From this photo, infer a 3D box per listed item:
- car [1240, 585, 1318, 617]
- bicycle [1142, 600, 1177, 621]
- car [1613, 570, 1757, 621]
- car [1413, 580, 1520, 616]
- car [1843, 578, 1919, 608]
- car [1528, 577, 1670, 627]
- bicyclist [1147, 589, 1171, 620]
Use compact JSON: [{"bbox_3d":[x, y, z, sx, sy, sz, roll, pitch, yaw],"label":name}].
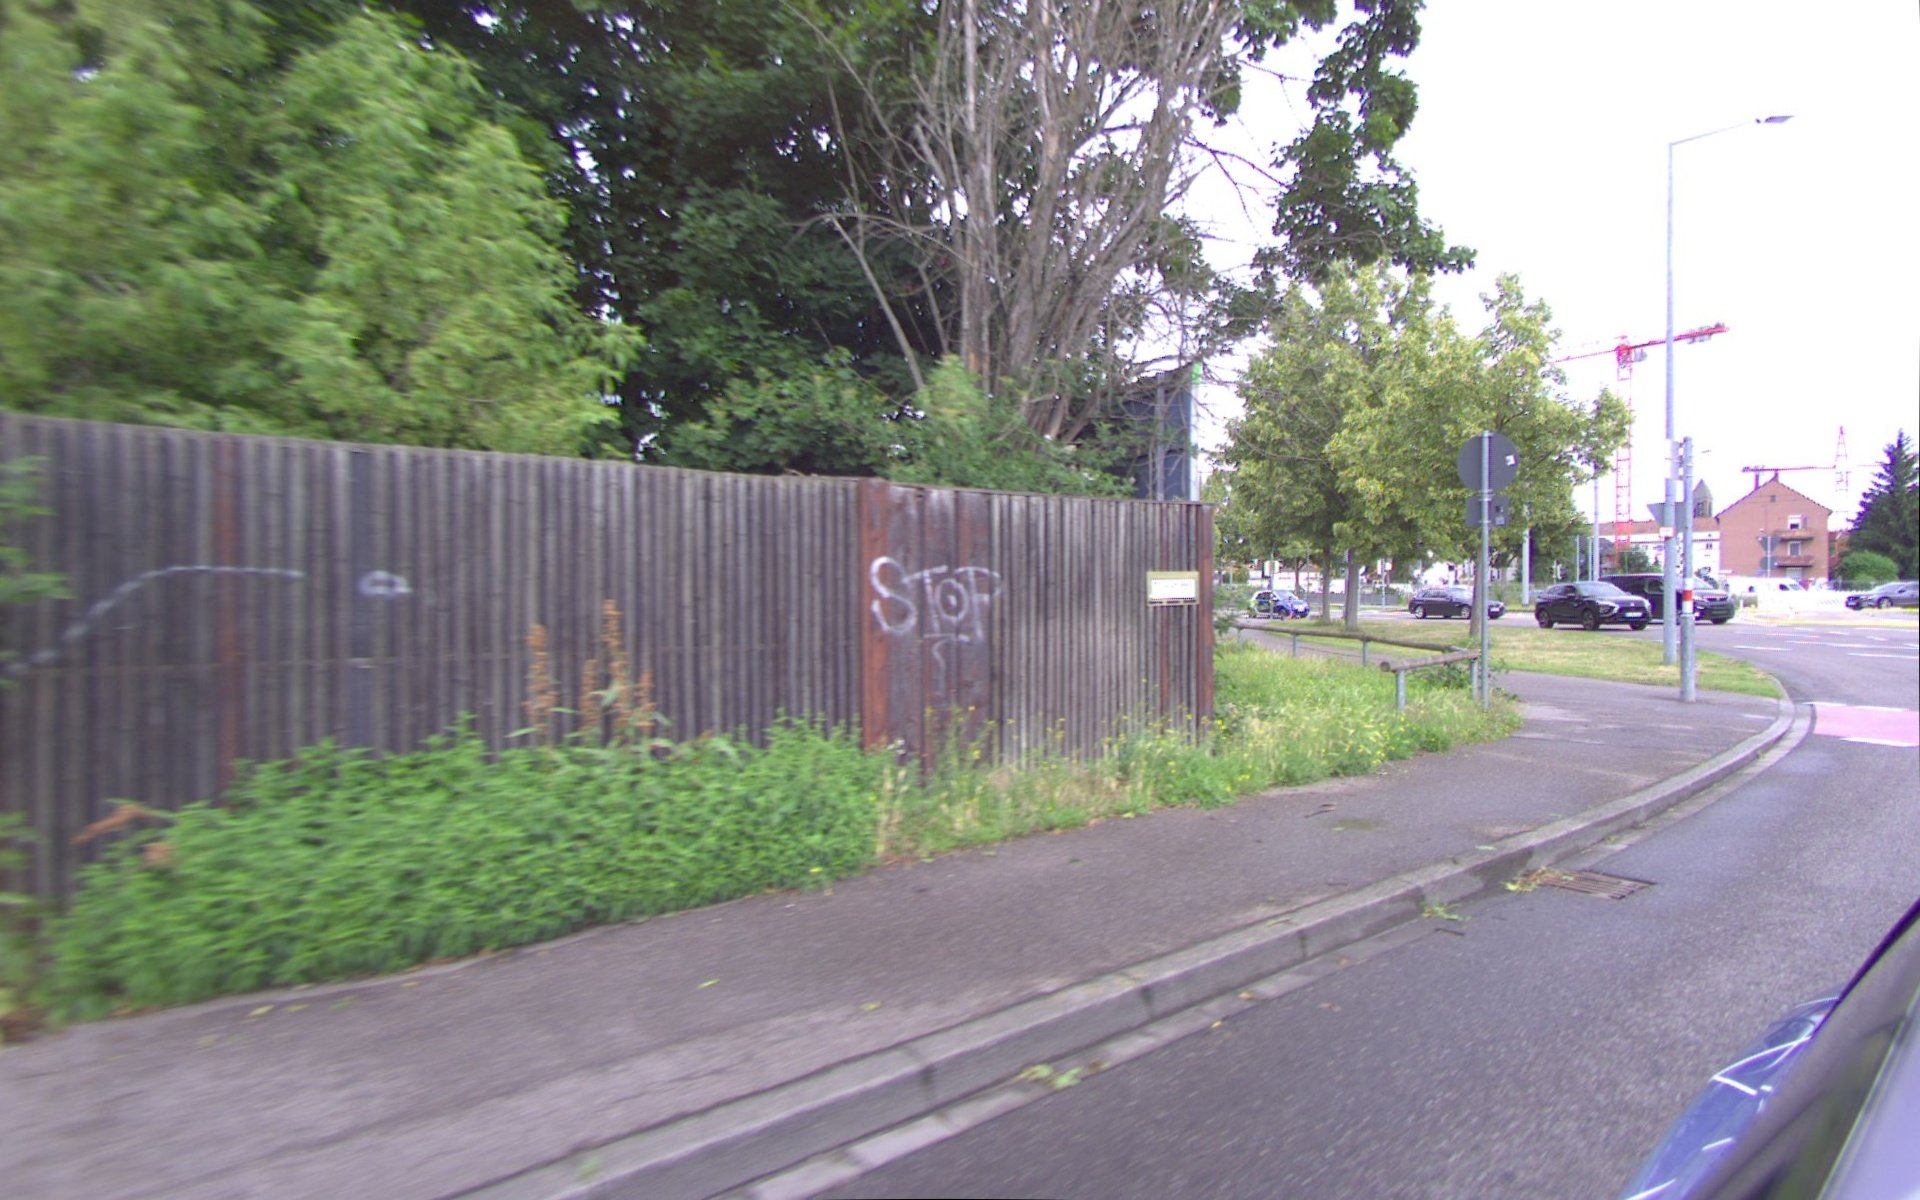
[{"bbox_3d":[17.769,0.042,56.521,1.823,1.749,4.005,0,0,-28],"label":"car"},{"bbox_3d":[8.700,0.447,44.063,0.619,0.886,1.959,2,1,40],"label":"bicycle"},{"bbox_3d":[26.391,-0.162,37.013,1.889,1.736,4.021,-1,0,-12],"label":"car"},{"bbox_3d":[24.025,-0.107,48.183,1.958,1.638,4.368,0,0,-22],"label":"car"},{"bbox_3d":[48.415,-0.385,52.015,4.261,1.489,2.000,-1,0,0],"label":"car"},{"bbox_3d":[21.594,0.040,34.451,1.884,1.586,4.477,-1,0,-2],"label":"car"},{"bbox_3d":[8.648,0.188,43.980,0.616,1.353,1.037,0,0,40],"label":"bicyclist"}]
